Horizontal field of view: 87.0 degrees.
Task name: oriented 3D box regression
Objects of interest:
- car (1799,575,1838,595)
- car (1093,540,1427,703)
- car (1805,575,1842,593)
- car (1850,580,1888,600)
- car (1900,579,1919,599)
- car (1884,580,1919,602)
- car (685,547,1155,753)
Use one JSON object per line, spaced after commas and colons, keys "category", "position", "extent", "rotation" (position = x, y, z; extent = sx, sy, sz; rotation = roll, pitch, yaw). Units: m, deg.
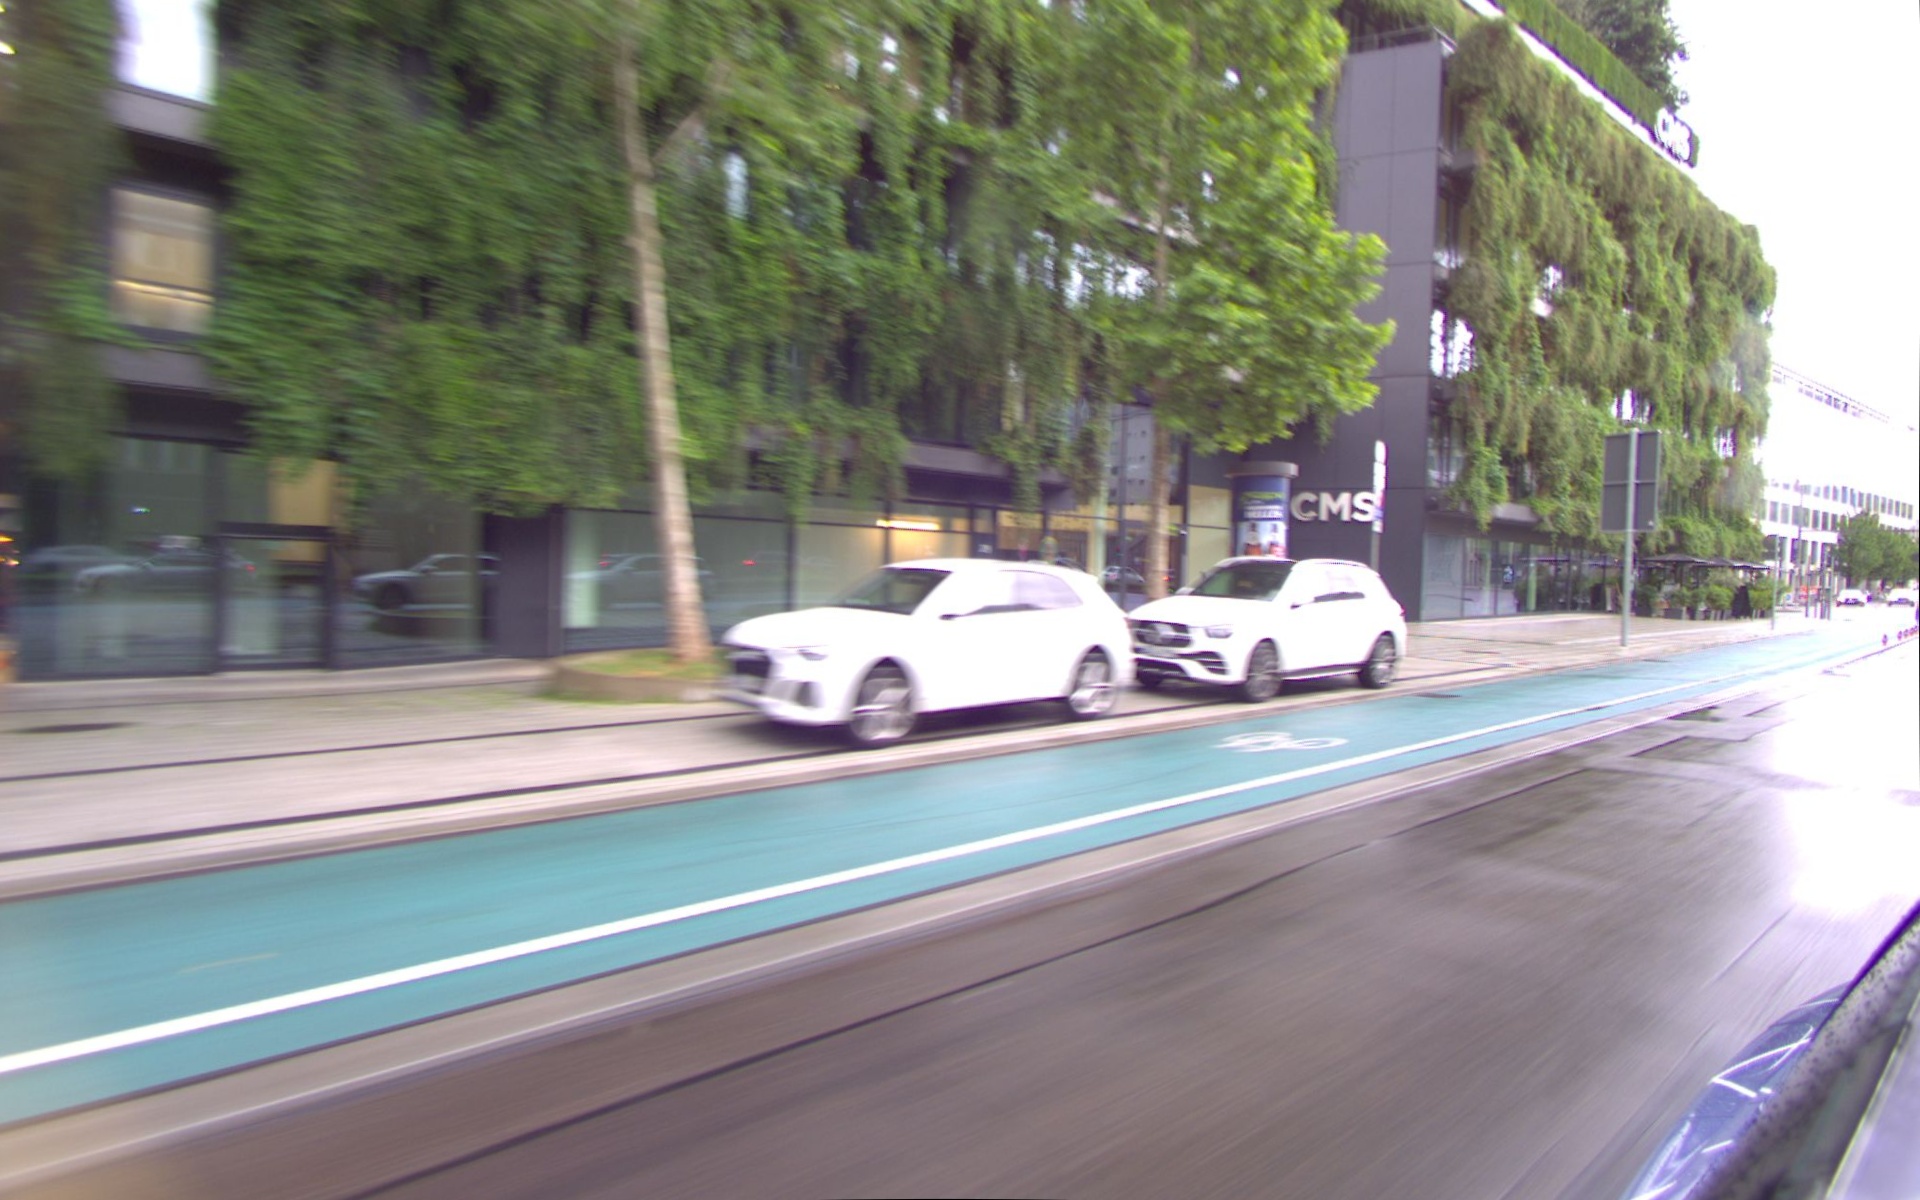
{"category": "car", "position": [70.854, -1.243, 83.513], "extent": [4.589, 1.571, 1.738], "rotation": [-2, 2, -40]}
{"category": "car", "position": [4.243, 0.169, 13.871], "extent": [5.002, 1.860, 1.848], "rotation": [-1, 3, -39]}
{"category": "car", "position": [75.956, -1.433, 89.007], "extent": [4.589, 1.571, 1.738], "rotation": [-2, 2, -40]}
{"category": "car", "position": [74.313, -0.861, 82.742], "extent": [4.589, 1.571, 1.738], "rotation": [-2, 1, -40]}
{"category": "car", "position": [80.738, -0.932, 85.220], "extent": [4.589, 1.571, 1.738], "rotation": [-2, 2, -40]}
{"category": "car", "position": [73.972, -0.742, 79.278], "extent": [4.589, 1.571, 1.738], "rotation": [-2, 2, -40]}
{"category": "car", "position": [-0.215, 0.347, 10.340], "extent": [4.703, 1.653, 1.847], "rotation": [-1, 2, -41]}
